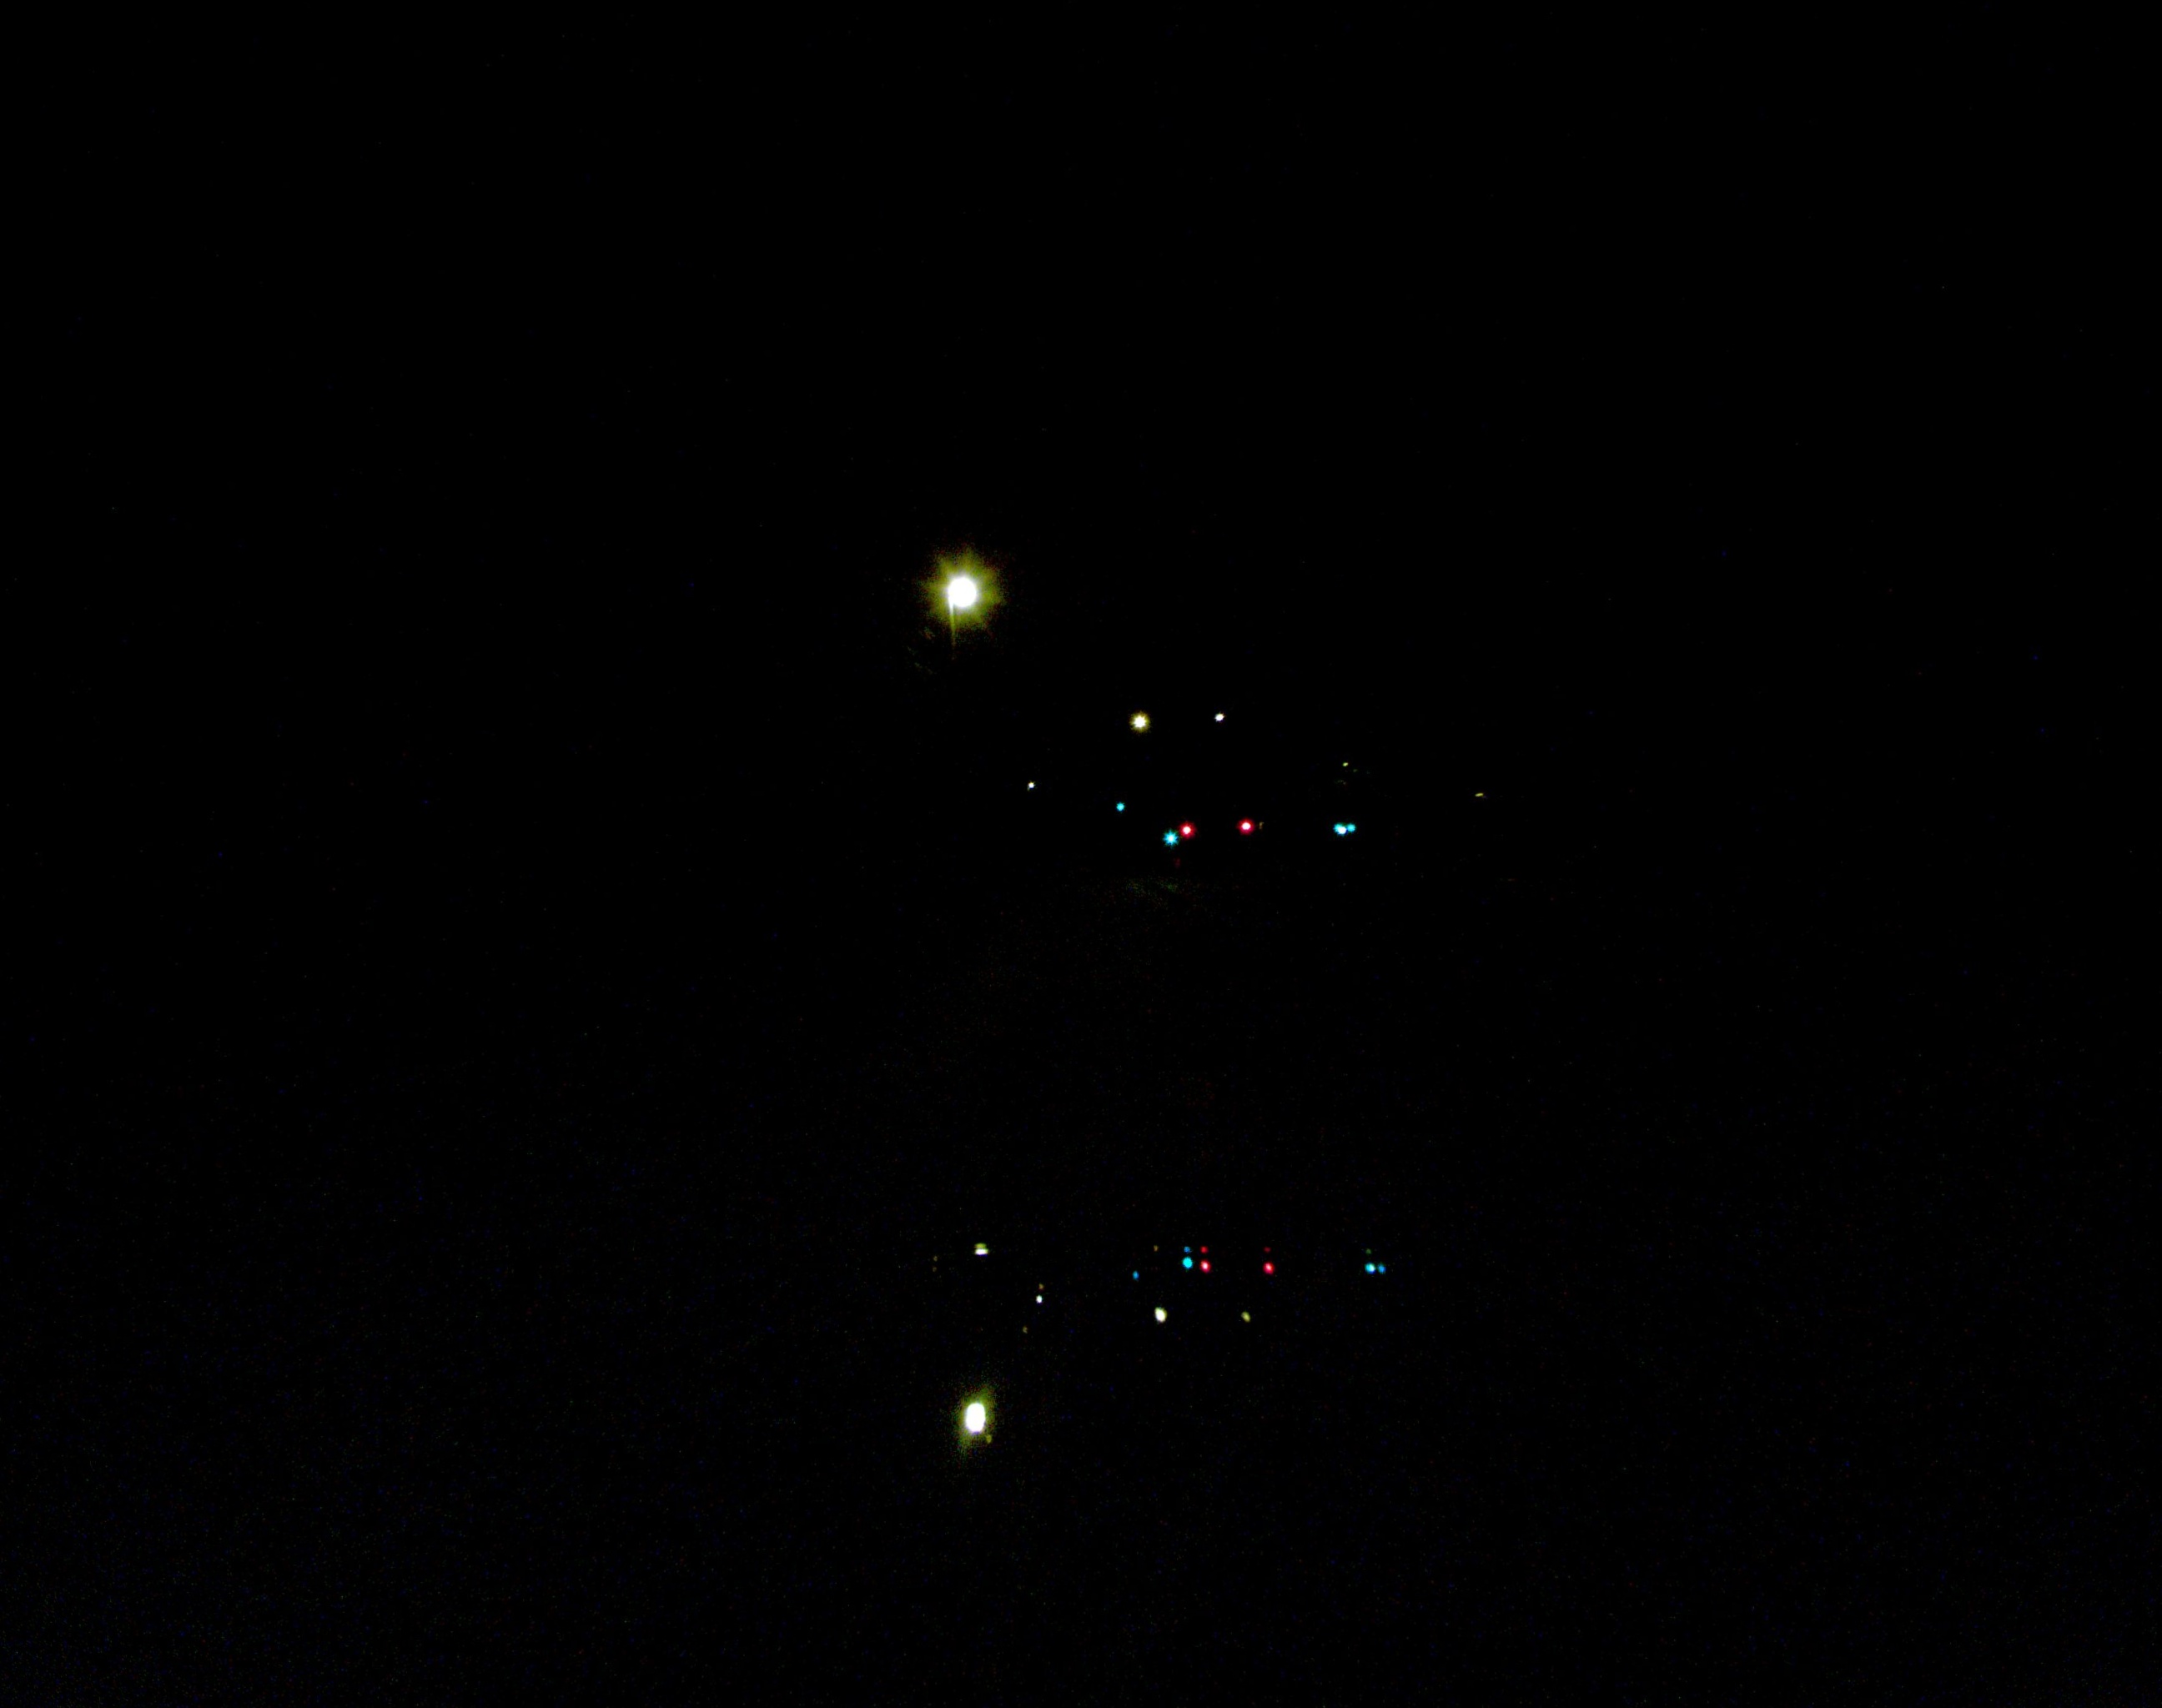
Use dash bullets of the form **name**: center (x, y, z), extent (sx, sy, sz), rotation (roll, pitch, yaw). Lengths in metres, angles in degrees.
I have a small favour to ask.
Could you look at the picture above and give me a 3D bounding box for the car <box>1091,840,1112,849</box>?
- **car**: center (4.481, -2.087, 164.731), extent (4.004, 1.600, 1.753), rotation (-6, 4, -30)
